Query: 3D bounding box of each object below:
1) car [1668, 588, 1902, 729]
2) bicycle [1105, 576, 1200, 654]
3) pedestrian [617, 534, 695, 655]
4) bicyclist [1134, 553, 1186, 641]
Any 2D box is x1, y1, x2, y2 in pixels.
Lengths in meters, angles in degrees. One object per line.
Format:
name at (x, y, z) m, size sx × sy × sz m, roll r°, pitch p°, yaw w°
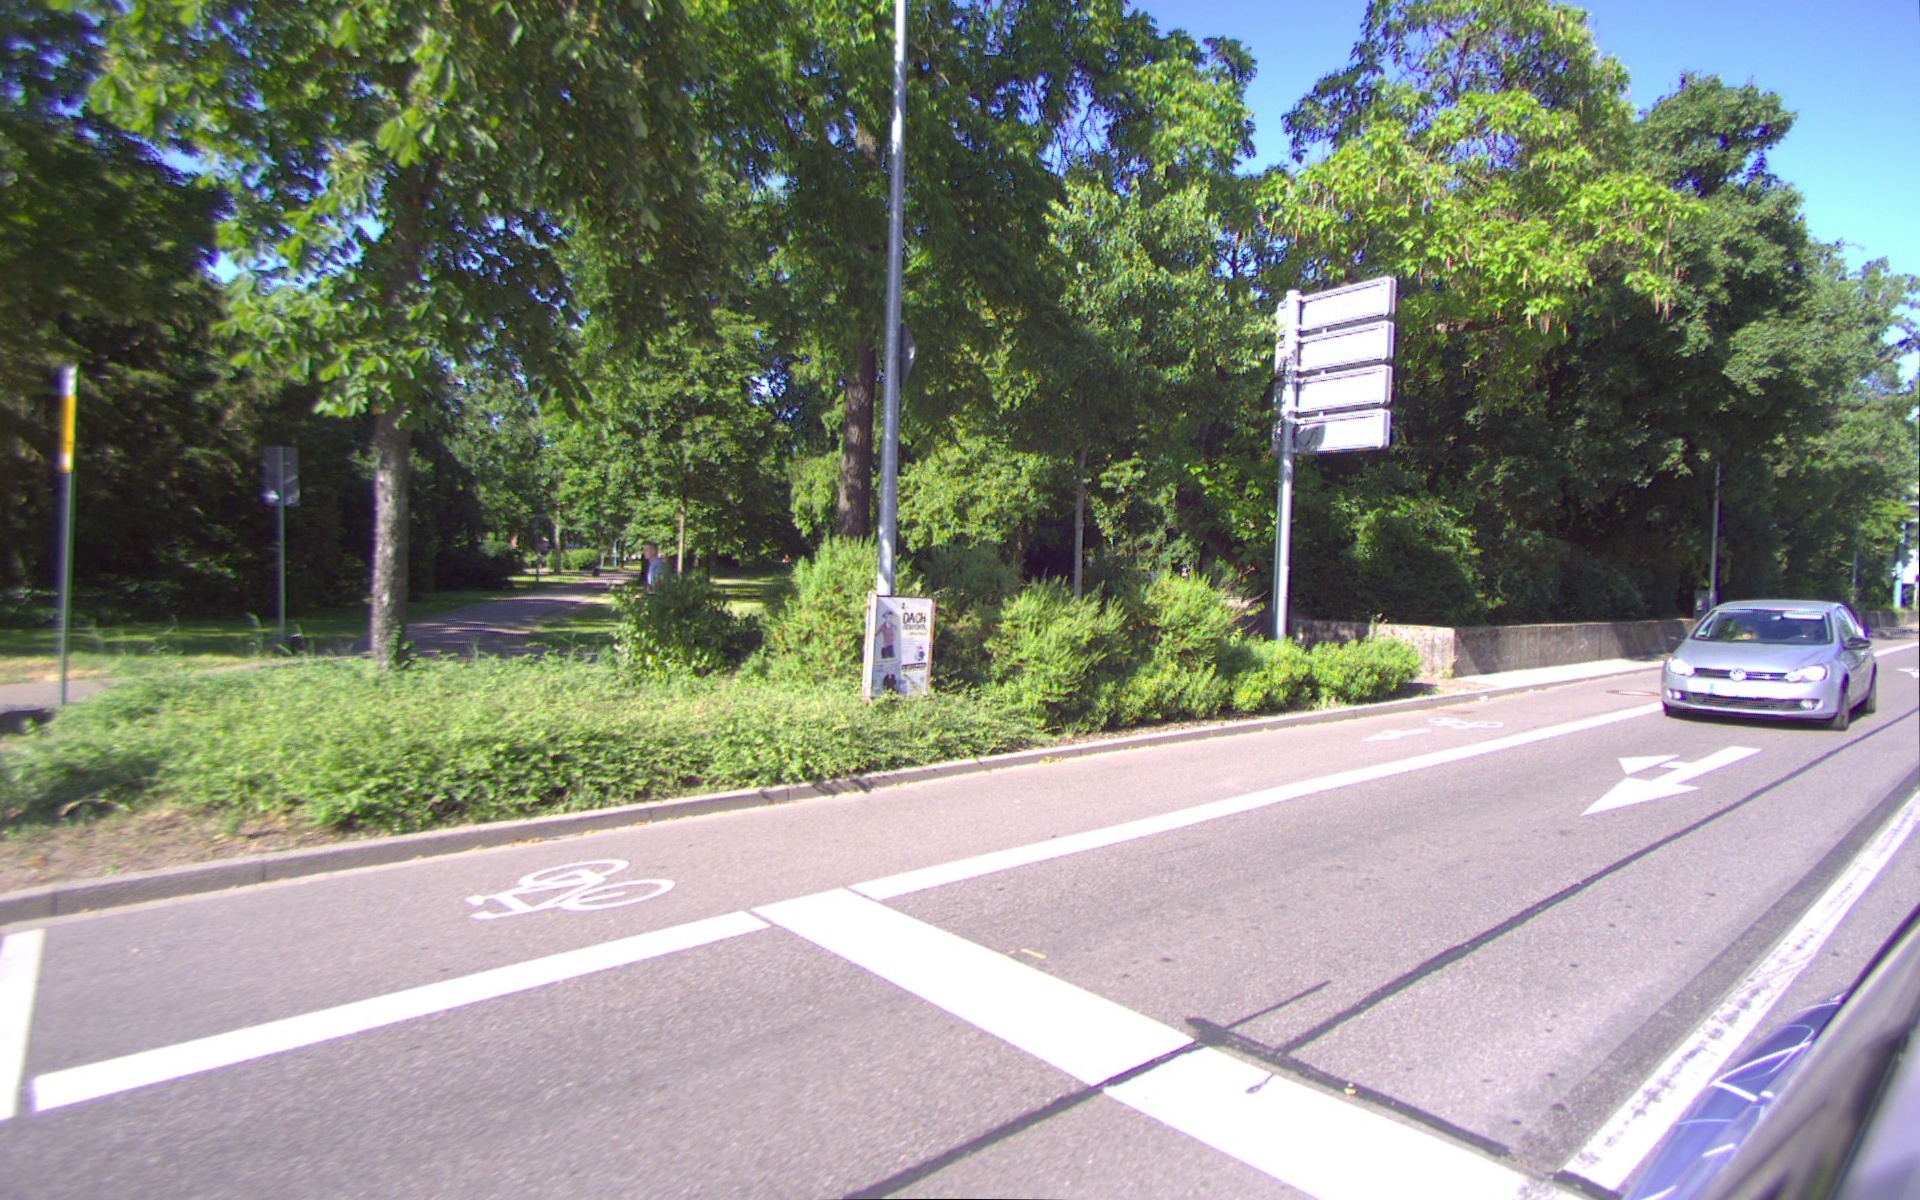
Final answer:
car at (10.567, 0.615, 12.865) m, size 3.931 × 1.492 × 1.701 m, roll 0°, pitch 2°, yaw -42°
bicycle at (3.444, 0.245, 17.999) m, size 1.876 × 1.307 × 0.623 m, roll 0°, pitch 1°, yaw -41°
pedestrian at (-4.478, -0.097, 14.938) m, size 0.729 × 1.723 × 0.869 m, roll 1°, pitch 1°, yaw 20°
bicyclist at (3.584, -0.063, 18.122) m, size 0.561 × 1.526 × 0.688 m, roll 0°, pitch 1°, yaw -41°
